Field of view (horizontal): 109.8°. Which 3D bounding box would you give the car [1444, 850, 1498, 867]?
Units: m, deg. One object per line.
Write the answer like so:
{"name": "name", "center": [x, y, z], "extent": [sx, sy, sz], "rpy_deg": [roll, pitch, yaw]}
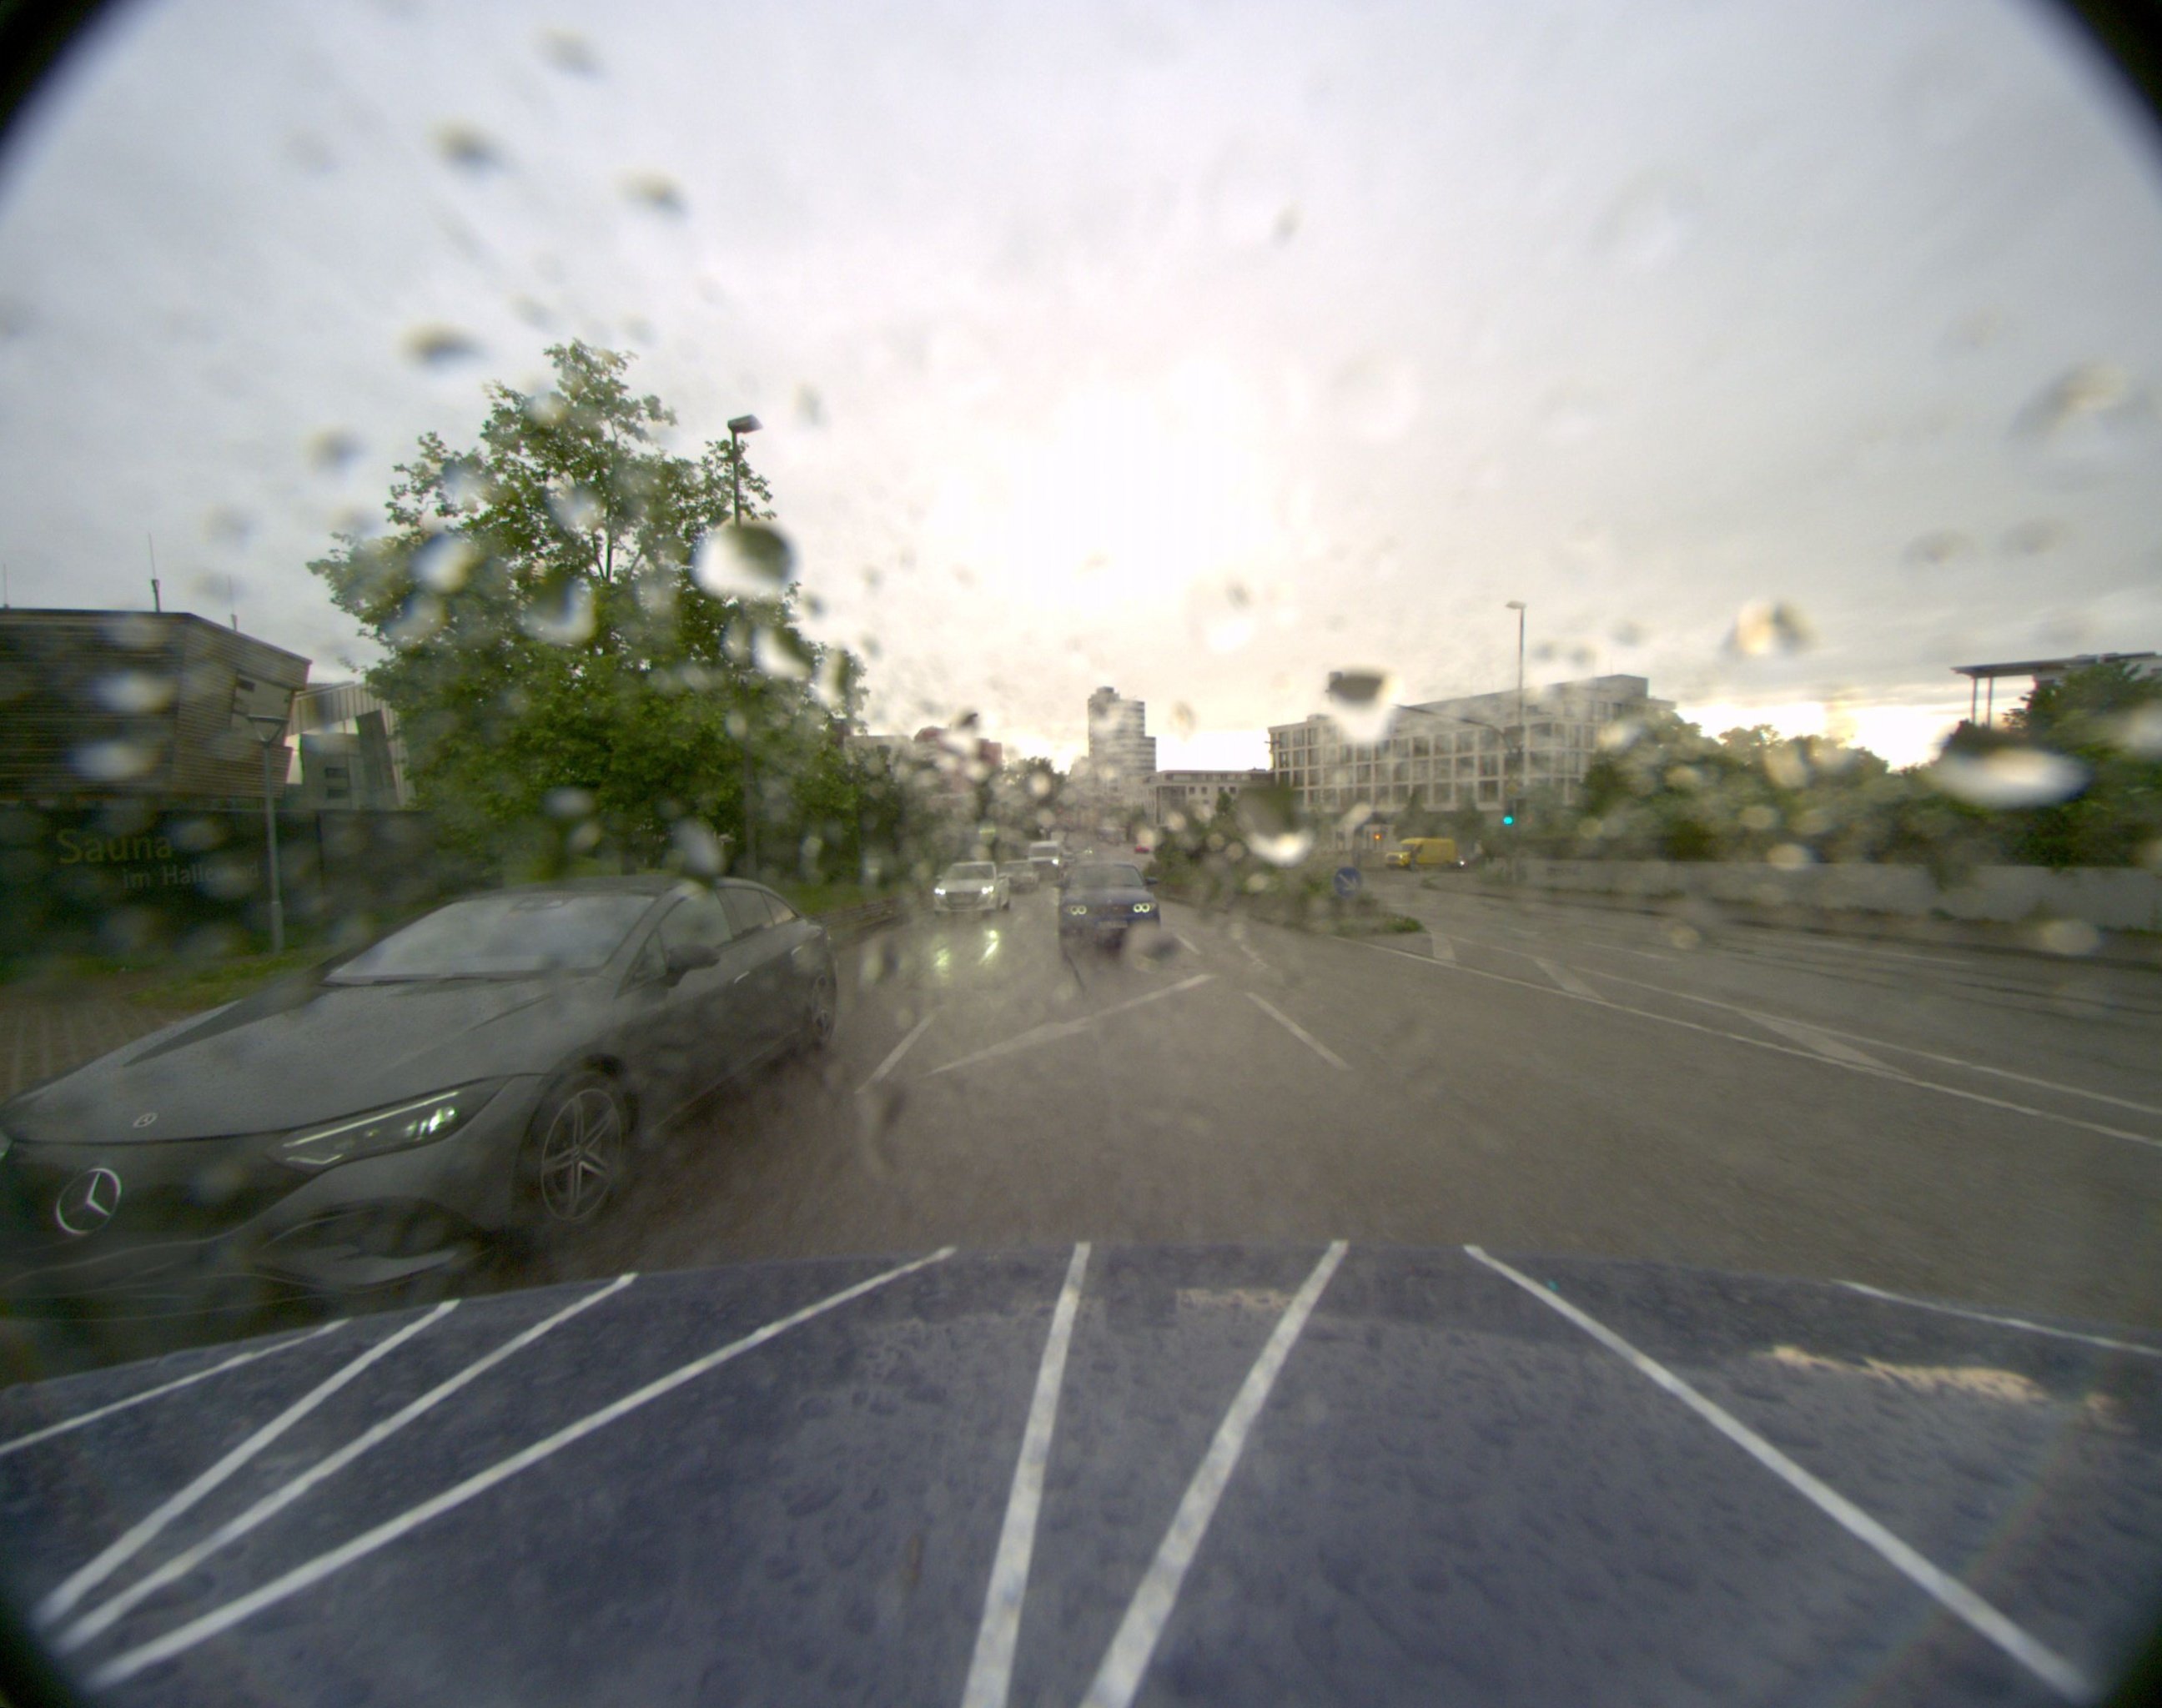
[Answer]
{"name": "car", "center": [31.673, 0.371, 61.676], "extent": [4.363, 1.310, 1.860], "rpy_deg": [0, 2, -30]}

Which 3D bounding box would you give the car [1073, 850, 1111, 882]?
{"name": "car", "center": [0.595, 0.578, 38.802], "extent": [1.717, 1.369, 3.734], "rpy_deg": [-3, 1, 3]}

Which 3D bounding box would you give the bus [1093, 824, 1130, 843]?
{"name": "bus", "center": [6.711, -4.721, 172.753], "extent": [2.955, 3.973, 18.198], "rpy_deg": [0, 2, -15]}

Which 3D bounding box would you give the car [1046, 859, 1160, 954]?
{"name": "car", "center": [0.453, 0.858, 13.961], "extent": [1.786, 1.335, 3.704], "rpy_deg": [-2, 2, 3]}

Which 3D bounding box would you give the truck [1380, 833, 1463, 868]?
{"name": "truck", "center": [25.837, -0.253, 57.658], "extent": [6.184, 2.524, 2.223], "rpy_deg": [0, 2, -26]}

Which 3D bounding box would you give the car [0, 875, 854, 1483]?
{"name": "car", "center": [-3.016, 1.000, 4.386], "extent": [1.836, 1.436, 4.550], "rpy_deg": [-3, 1, 2]}

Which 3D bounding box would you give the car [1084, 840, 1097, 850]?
{"name": "car", "center": [1.516, -1.462, 122.799], "extent": [1.998, 1.543, 4.000], "rpy_deg": [-2, 0, 0]}

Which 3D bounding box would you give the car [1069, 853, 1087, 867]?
{"name": "car", "center": [-0.366, 0.681, 88.562], "extent": [1.998, 1.543, 4.000], "rpy_deg": [-2, 0, 0]}

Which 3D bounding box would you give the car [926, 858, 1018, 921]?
{"name": "car", "center": [-2.931, 0.912, 21.337], "extent": [1.717, 1.389, 4.035], "rpy_deg": [-3, 1, 3]}

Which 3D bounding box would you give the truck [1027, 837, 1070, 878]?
{"name": "truck", "center": [-2.088, 0.153, 50.272], "extent": [2.168, 2.426, 6.199], "rpy_deg": [-2, 2, 3]}

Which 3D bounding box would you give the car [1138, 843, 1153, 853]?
{"name": "car", "center": [9.812, -0.875, 115.576], "extent": [1.998, 1.406, 4.430], "rpy_deg": [-1, 2, 2]}

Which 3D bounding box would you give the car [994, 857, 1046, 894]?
{"name": "car", "center": [-2.640, 0.893, 33.406], "extent": [1.717, 1.369, 3.734], "rpy_deg": [-3, 1, 3]}

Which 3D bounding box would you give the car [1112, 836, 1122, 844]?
{"name": "car", "center": [7.126, -2.702, 148.987], "extent": [1.907, 1.543, 4.074], "rpy_deg": [0, 1, 2]}

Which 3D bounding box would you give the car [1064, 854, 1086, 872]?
{"name": "car", "center": [-0.529, 0.821, 70.780], "extent": [1.998, 1.543, 4.000], "rpy_deg": [-2, 1, 0]}

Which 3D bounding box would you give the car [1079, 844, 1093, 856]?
{"name": "car", "center": [0.706, -0.543, 107.625], "extent": [1.998, 1.543, 4.000], "rpy_deg": [-2, 0, 0]}
